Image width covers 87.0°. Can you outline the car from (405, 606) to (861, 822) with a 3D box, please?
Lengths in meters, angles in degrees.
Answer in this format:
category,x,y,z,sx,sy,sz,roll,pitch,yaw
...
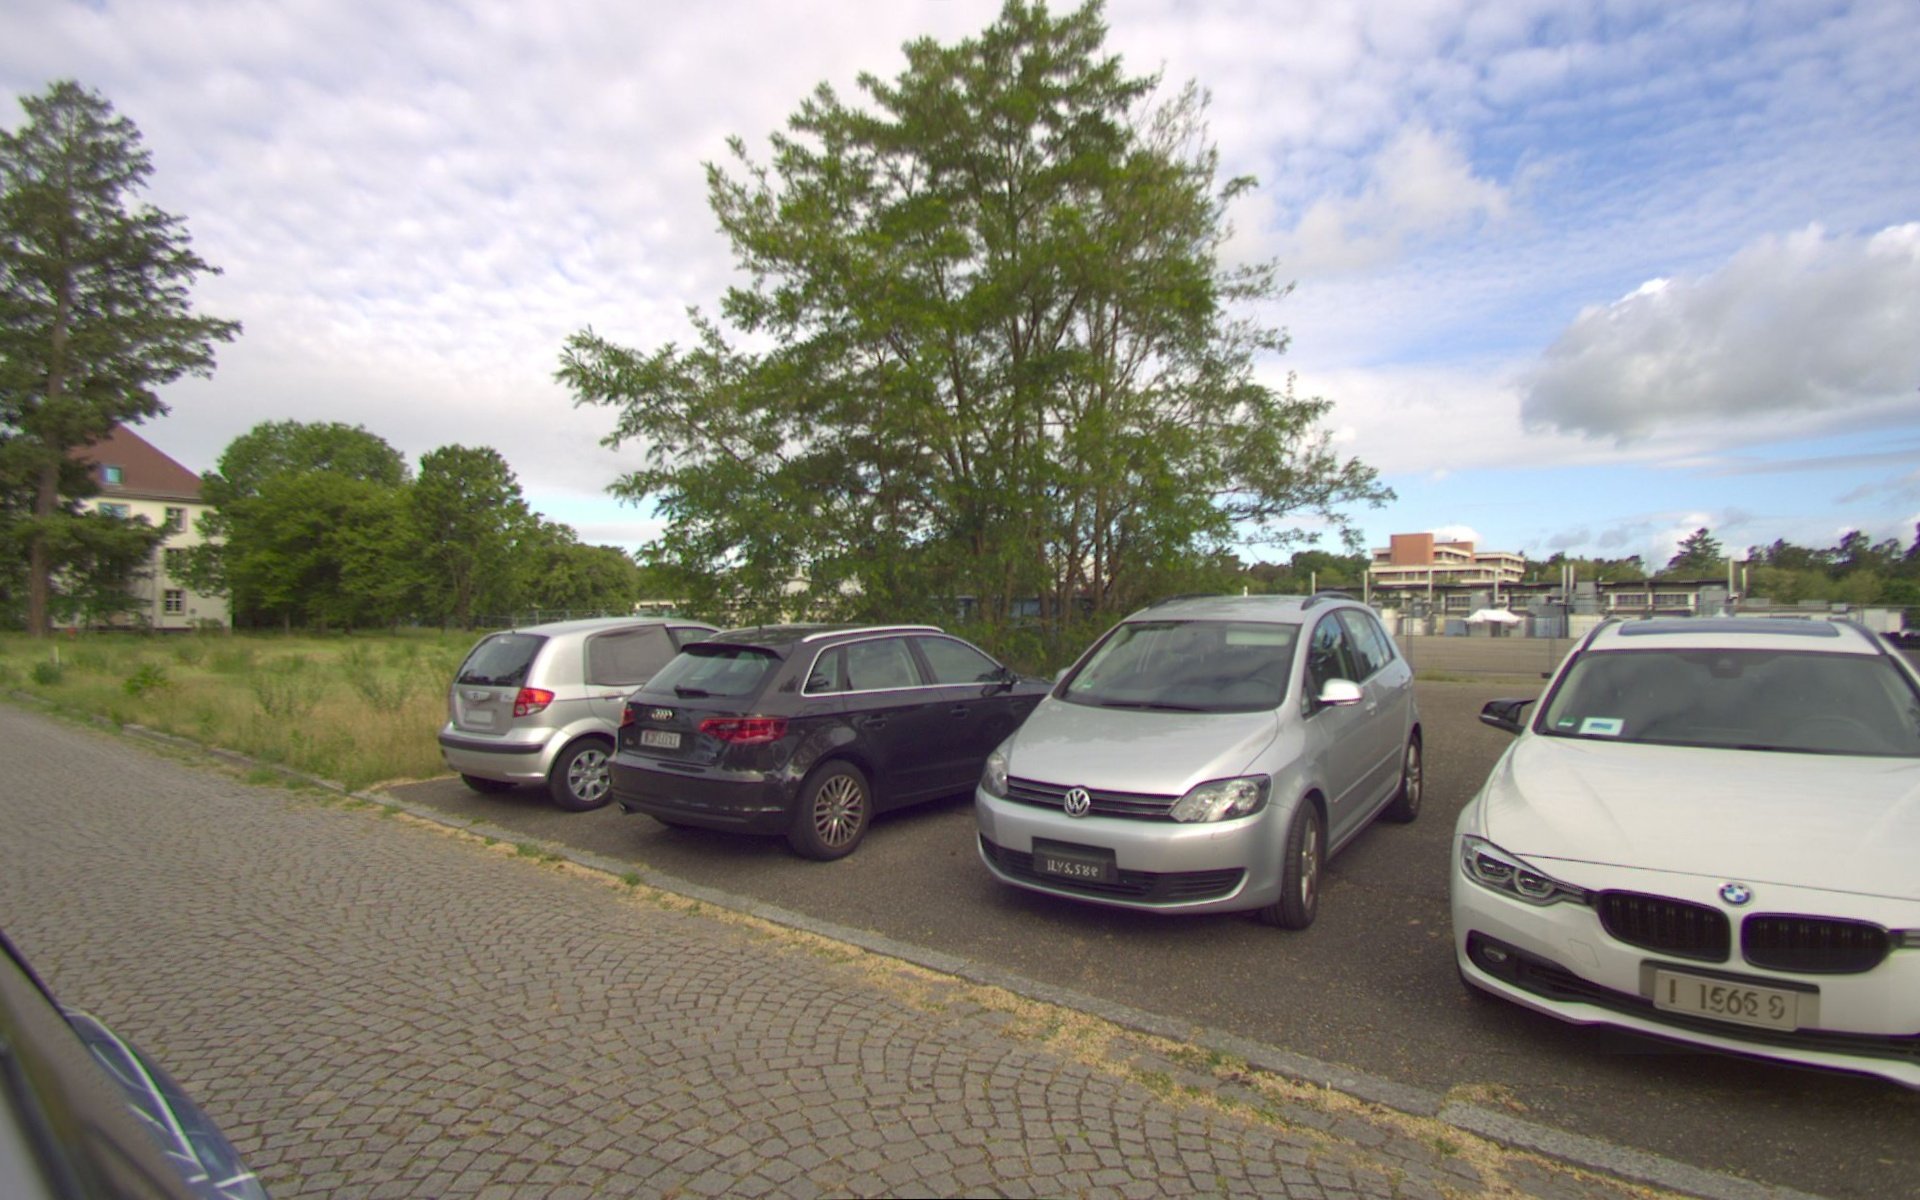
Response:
category,x,y,z,sx,sy,sz,roll,pitch,yaw
car,-2.809,0.847,9.360,1.804,1.463,3.646,-1,1,35

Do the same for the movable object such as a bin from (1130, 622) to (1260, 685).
category,x,y,z,sx,sy,sz,roll,pitch,yaw
movable object such as a bin,4.708,1.031,20.192,2.364,1.170,1.501,1,-2,-45

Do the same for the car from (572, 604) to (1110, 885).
category,x,y,z,sx,sy,sz,roll,pitch,yaw
car,-0.638,0.816,7.674,1.749,1.438,3.948,-1,1,39

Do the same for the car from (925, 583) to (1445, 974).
category,x,y,z,sx,sy,sz,roll,pitch,yaw
car,1.673,0.711,6.236,1.720,1.559,3.952,-1,1,35

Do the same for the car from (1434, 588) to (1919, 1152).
category,x,y,z,sx,sy,sz,roll,pitch,yaw
car,3.696,0.719,4.768,1.798,1.454,4.606,-1,1,36
